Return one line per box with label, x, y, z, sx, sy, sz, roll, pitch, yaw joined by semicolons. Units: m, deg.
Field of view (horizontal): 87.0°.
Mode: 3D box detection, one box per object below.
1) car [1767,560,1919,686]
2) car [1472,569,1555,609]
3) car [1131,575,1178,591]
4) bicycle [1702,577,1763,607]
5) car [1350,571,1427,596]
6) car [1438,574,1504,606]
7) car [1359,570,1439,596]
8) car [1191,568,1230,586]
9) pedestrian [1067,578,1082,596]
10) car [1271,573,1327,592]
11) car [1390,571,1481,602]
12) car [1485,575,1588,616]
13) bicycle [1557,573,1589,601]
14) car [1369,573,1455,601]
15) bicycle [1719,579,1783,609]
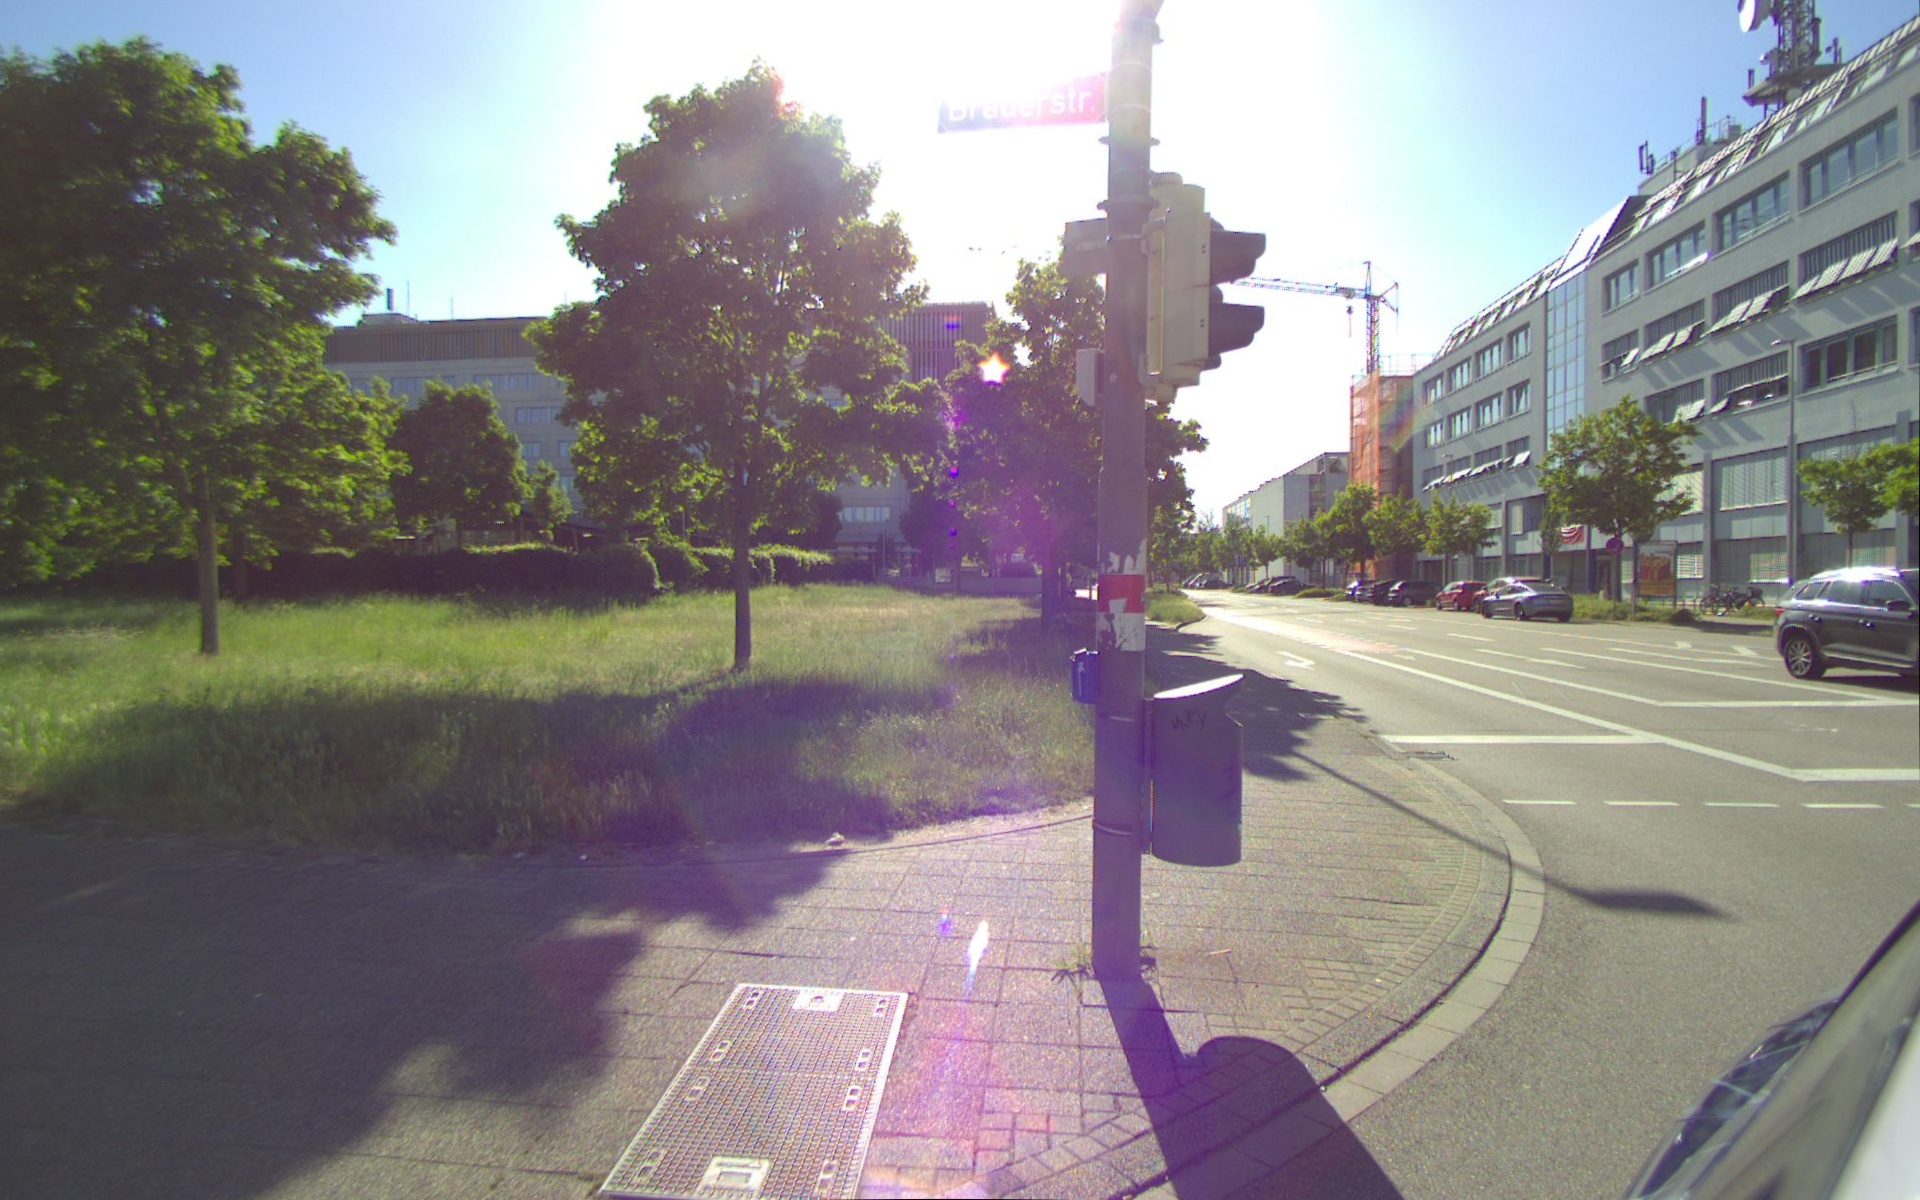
car;13.819;0.284;14.183;1.729;1.648;4.471;-2;1;6
car;24.683;-0.513;45.322;1.664;1.627;4.304;-2;1;6
car;18.652;-1.664;97.354;4.342;1.481;1.891;1;1;8
bicycle;29.613;-0.311;38.803;1.748;1.082;0.553;1;1;16
car;28.273;-1.095;66.809;4.326;1.450;1.690;-2;1;9
car;25.283;-0.539;50.226;1.665;1.449;3.864;-2;1;7
car;27.985;-1.104;64.605;4.326;1.450;1.690;-2;1;9
car;38.470;-3.574;155.399;5.497;2.513;2.005;-2;1;10
pedestrian;7.799;-0.881;68.881;0.830;1.232;0.729;1;1;-5
car;30.403;-1.566;90.821;4.321;1.450;1.976;-3;1;4
car;26.975;-0.772;57.488;4.320;1.557;1.692;-3;1;4
car;22.327;-0.216;39.421;1.663;1.486;4.543;0;1;4
bicycle;31.304;-0.687;51.706;0.700;1.364;2.224;1;2;13
car;27.001;-0.794;60.560;4.322;1.450;1.691;-3;1;5
bicycle;29.694;-0.250;38.011;1.769;1.082;0.618;1;1;16
